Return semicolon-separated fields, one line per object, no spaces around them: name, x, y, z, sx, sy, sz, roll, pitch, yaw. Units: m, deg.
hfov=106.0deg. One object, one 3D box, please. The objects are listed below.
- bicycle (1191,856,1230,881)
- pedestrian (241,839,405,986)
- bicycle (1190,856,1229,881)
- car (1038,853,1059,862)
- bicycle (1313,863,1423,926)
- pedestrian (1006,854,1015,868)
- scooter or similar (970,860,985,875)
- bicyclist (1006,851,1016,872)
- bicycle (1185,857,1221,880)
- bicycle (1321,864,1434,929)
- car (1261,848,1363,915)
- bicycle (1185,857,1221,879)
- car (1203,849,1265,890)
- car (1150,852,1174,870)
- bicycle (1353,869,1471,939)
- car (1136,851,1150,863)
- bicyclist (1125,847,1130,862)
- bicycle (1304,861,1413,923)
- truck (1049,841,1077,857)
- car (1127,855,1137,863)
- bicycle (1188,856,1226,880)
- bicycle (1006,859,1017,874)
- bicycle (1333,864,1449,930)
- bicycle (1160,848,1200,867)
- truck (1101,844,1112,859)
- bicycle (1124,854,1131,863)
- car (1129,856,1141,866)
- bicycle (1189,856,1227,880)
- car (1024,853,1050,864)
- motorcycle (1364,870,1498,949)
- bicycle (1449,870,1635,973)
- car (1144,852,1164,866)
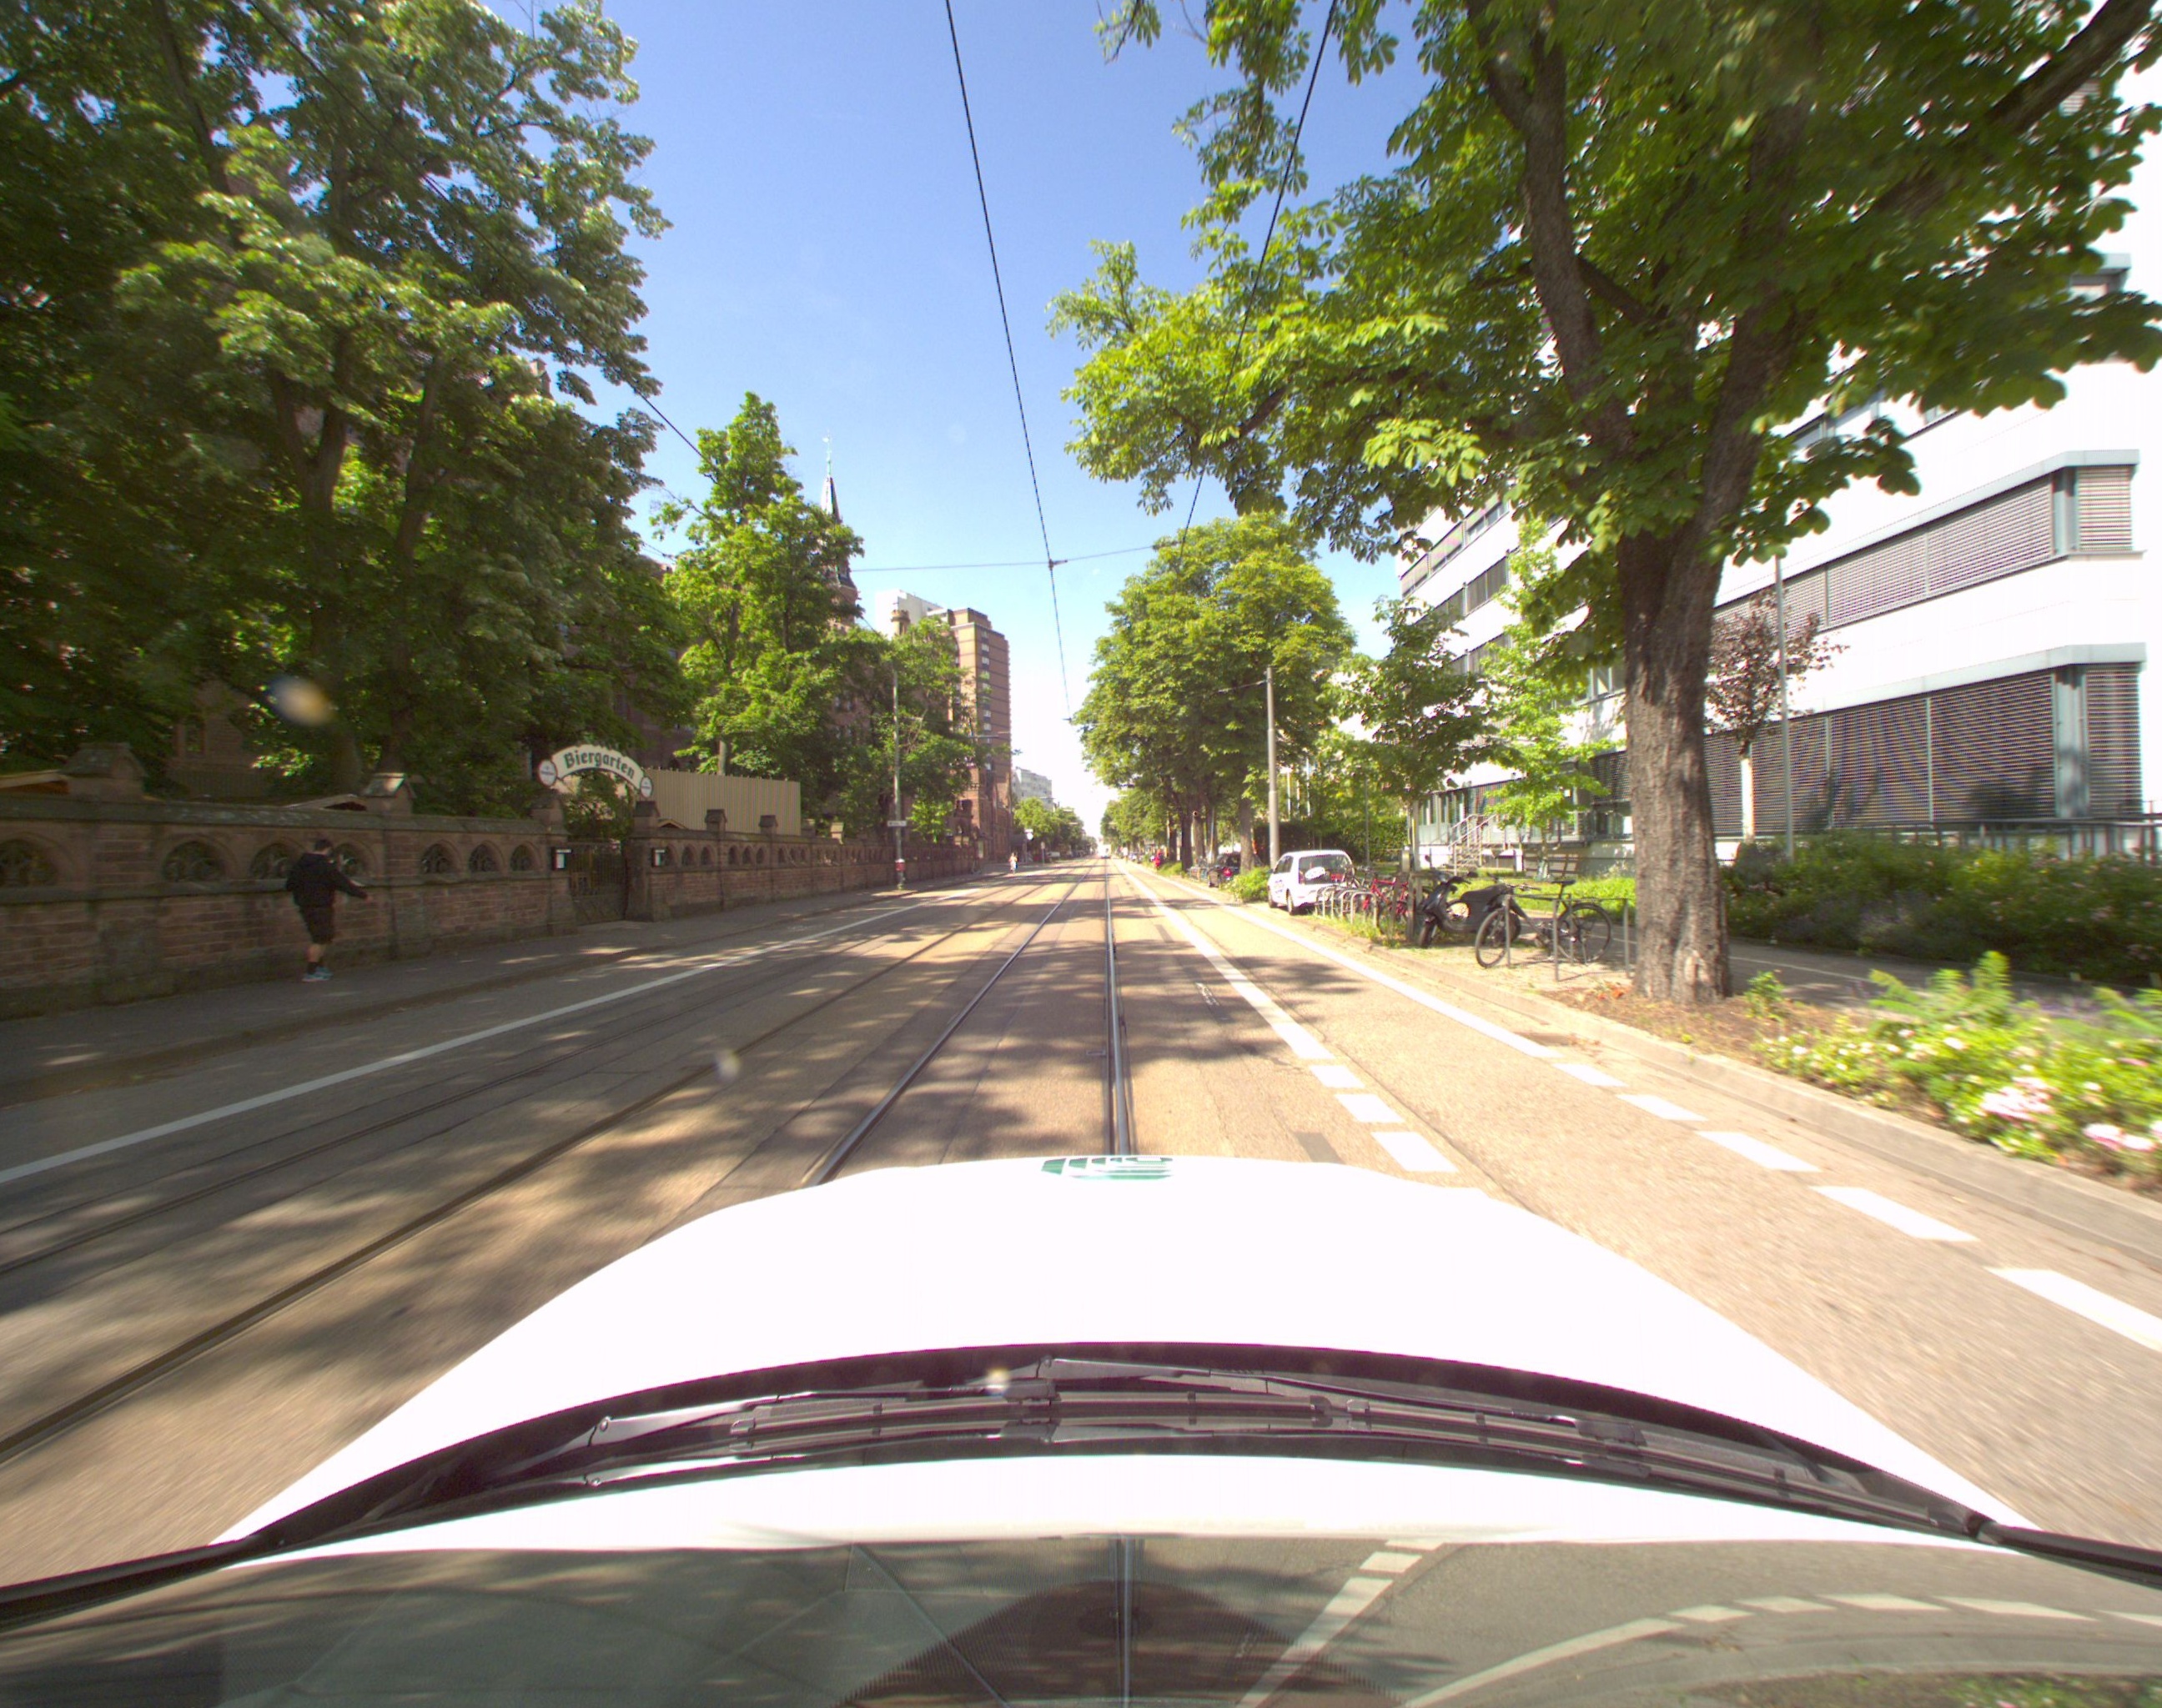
bicycle;6.035;0.677;38.087;1.718;1.086;0.629;-2;0;0
pedestrian;-9.994;0.732;10.799;0.973;1.816;1.185;2;0;2
bicycle;6.124;0.680;38.745;1.718;1.086;0.697;-2;0;0
car;-6.839;0.676;172.109;4.011;1.750;1.981;-1;0;-29
bicycle;5.564;0.775;15.837;1.866;1.141;0.686;-2;0;0
pedestrian;-7.637;0.774;88.220;0.882;1.512;1.472;-1;0;-7
scooter or similar;-8.130;1.031;63.856;0.329;1.129;1.194;-2;-1;40
bicyclist;-5.817;0.595;67.755;0.722;1.698;1.147;-2;0;1
bicycle;6.146;0.719;41.018;1.718;1.086;0.615;-2;0;0
bicycle;5.532;0.779;15.263;1.842;1.132;0.680;-2;0;0
car;5.608;0.630;20.155;1.623;1.472;3.633;-2;0;3
bicycle;6.234;0.715;41.591;1.718;1.086;0.478;-2;0;0
car;6.008;0.568;32.480;1.625;1.483;4.272;-2;0;0
car;7.082;0.565;71.446;1.625;1.472;3.718;-2;0;0
bicycle;5.560;0.825;13.742;1.718;1.086;0.640;-2;0;0
car;7.841;0.371;102.991;1.624;1.472;4.115;-2;0;2
bicyclist;5.935;0.057;104.018;0.634;1.871;1.024;-2;0;1
bicycle;5.587;0.754;16.483;1.897;1.169;0.819;-2;0;0
truck;-4.418;-1.173;200.843;2.788;3.859;10.056;-2;0;23
car;9.246;0.865;146.494;1.624;1.472;4.115;-2;0;2
bicycle;6.172;0.684;39.960;1.718;1.086;0.589;-2;0;0
bicycle;-5.792;1.015;67.803;0.660;1.154;2.015;-2;0;2
bicycle;5.548;0.753;14.629;1.786;1.086;0.726;-2;0;0
bicycle;7.558;0.277;62.359;3.014;1.332;1.042;-2;0;4
truck;5.395;-0.474;173.063;2.393;3.108;6.039;-1;0;1
bicycle;5.925;0.540;103.712;0.852;1.110;2.140;-2;0;1
car;8.053;1.026;120.882;1.624;1.472;4.115;-2;0;2
bicycle;6.123;0.678;39.379;1.718;1.086;0.570;-2;0;0
car;-7.584;0.771;139.135;4.017;1.810;1.869;-1;0;-36
motorcycle;5.275;0.824;12.343;1.718;1.086;0.659;-2;0;0
bicycle;5.365;0.766;9.559;1.718;1.086;0.789;-2;0;0
car;7.261;0.497;81.305;1.625;1.355;3.901;-2;0;0
